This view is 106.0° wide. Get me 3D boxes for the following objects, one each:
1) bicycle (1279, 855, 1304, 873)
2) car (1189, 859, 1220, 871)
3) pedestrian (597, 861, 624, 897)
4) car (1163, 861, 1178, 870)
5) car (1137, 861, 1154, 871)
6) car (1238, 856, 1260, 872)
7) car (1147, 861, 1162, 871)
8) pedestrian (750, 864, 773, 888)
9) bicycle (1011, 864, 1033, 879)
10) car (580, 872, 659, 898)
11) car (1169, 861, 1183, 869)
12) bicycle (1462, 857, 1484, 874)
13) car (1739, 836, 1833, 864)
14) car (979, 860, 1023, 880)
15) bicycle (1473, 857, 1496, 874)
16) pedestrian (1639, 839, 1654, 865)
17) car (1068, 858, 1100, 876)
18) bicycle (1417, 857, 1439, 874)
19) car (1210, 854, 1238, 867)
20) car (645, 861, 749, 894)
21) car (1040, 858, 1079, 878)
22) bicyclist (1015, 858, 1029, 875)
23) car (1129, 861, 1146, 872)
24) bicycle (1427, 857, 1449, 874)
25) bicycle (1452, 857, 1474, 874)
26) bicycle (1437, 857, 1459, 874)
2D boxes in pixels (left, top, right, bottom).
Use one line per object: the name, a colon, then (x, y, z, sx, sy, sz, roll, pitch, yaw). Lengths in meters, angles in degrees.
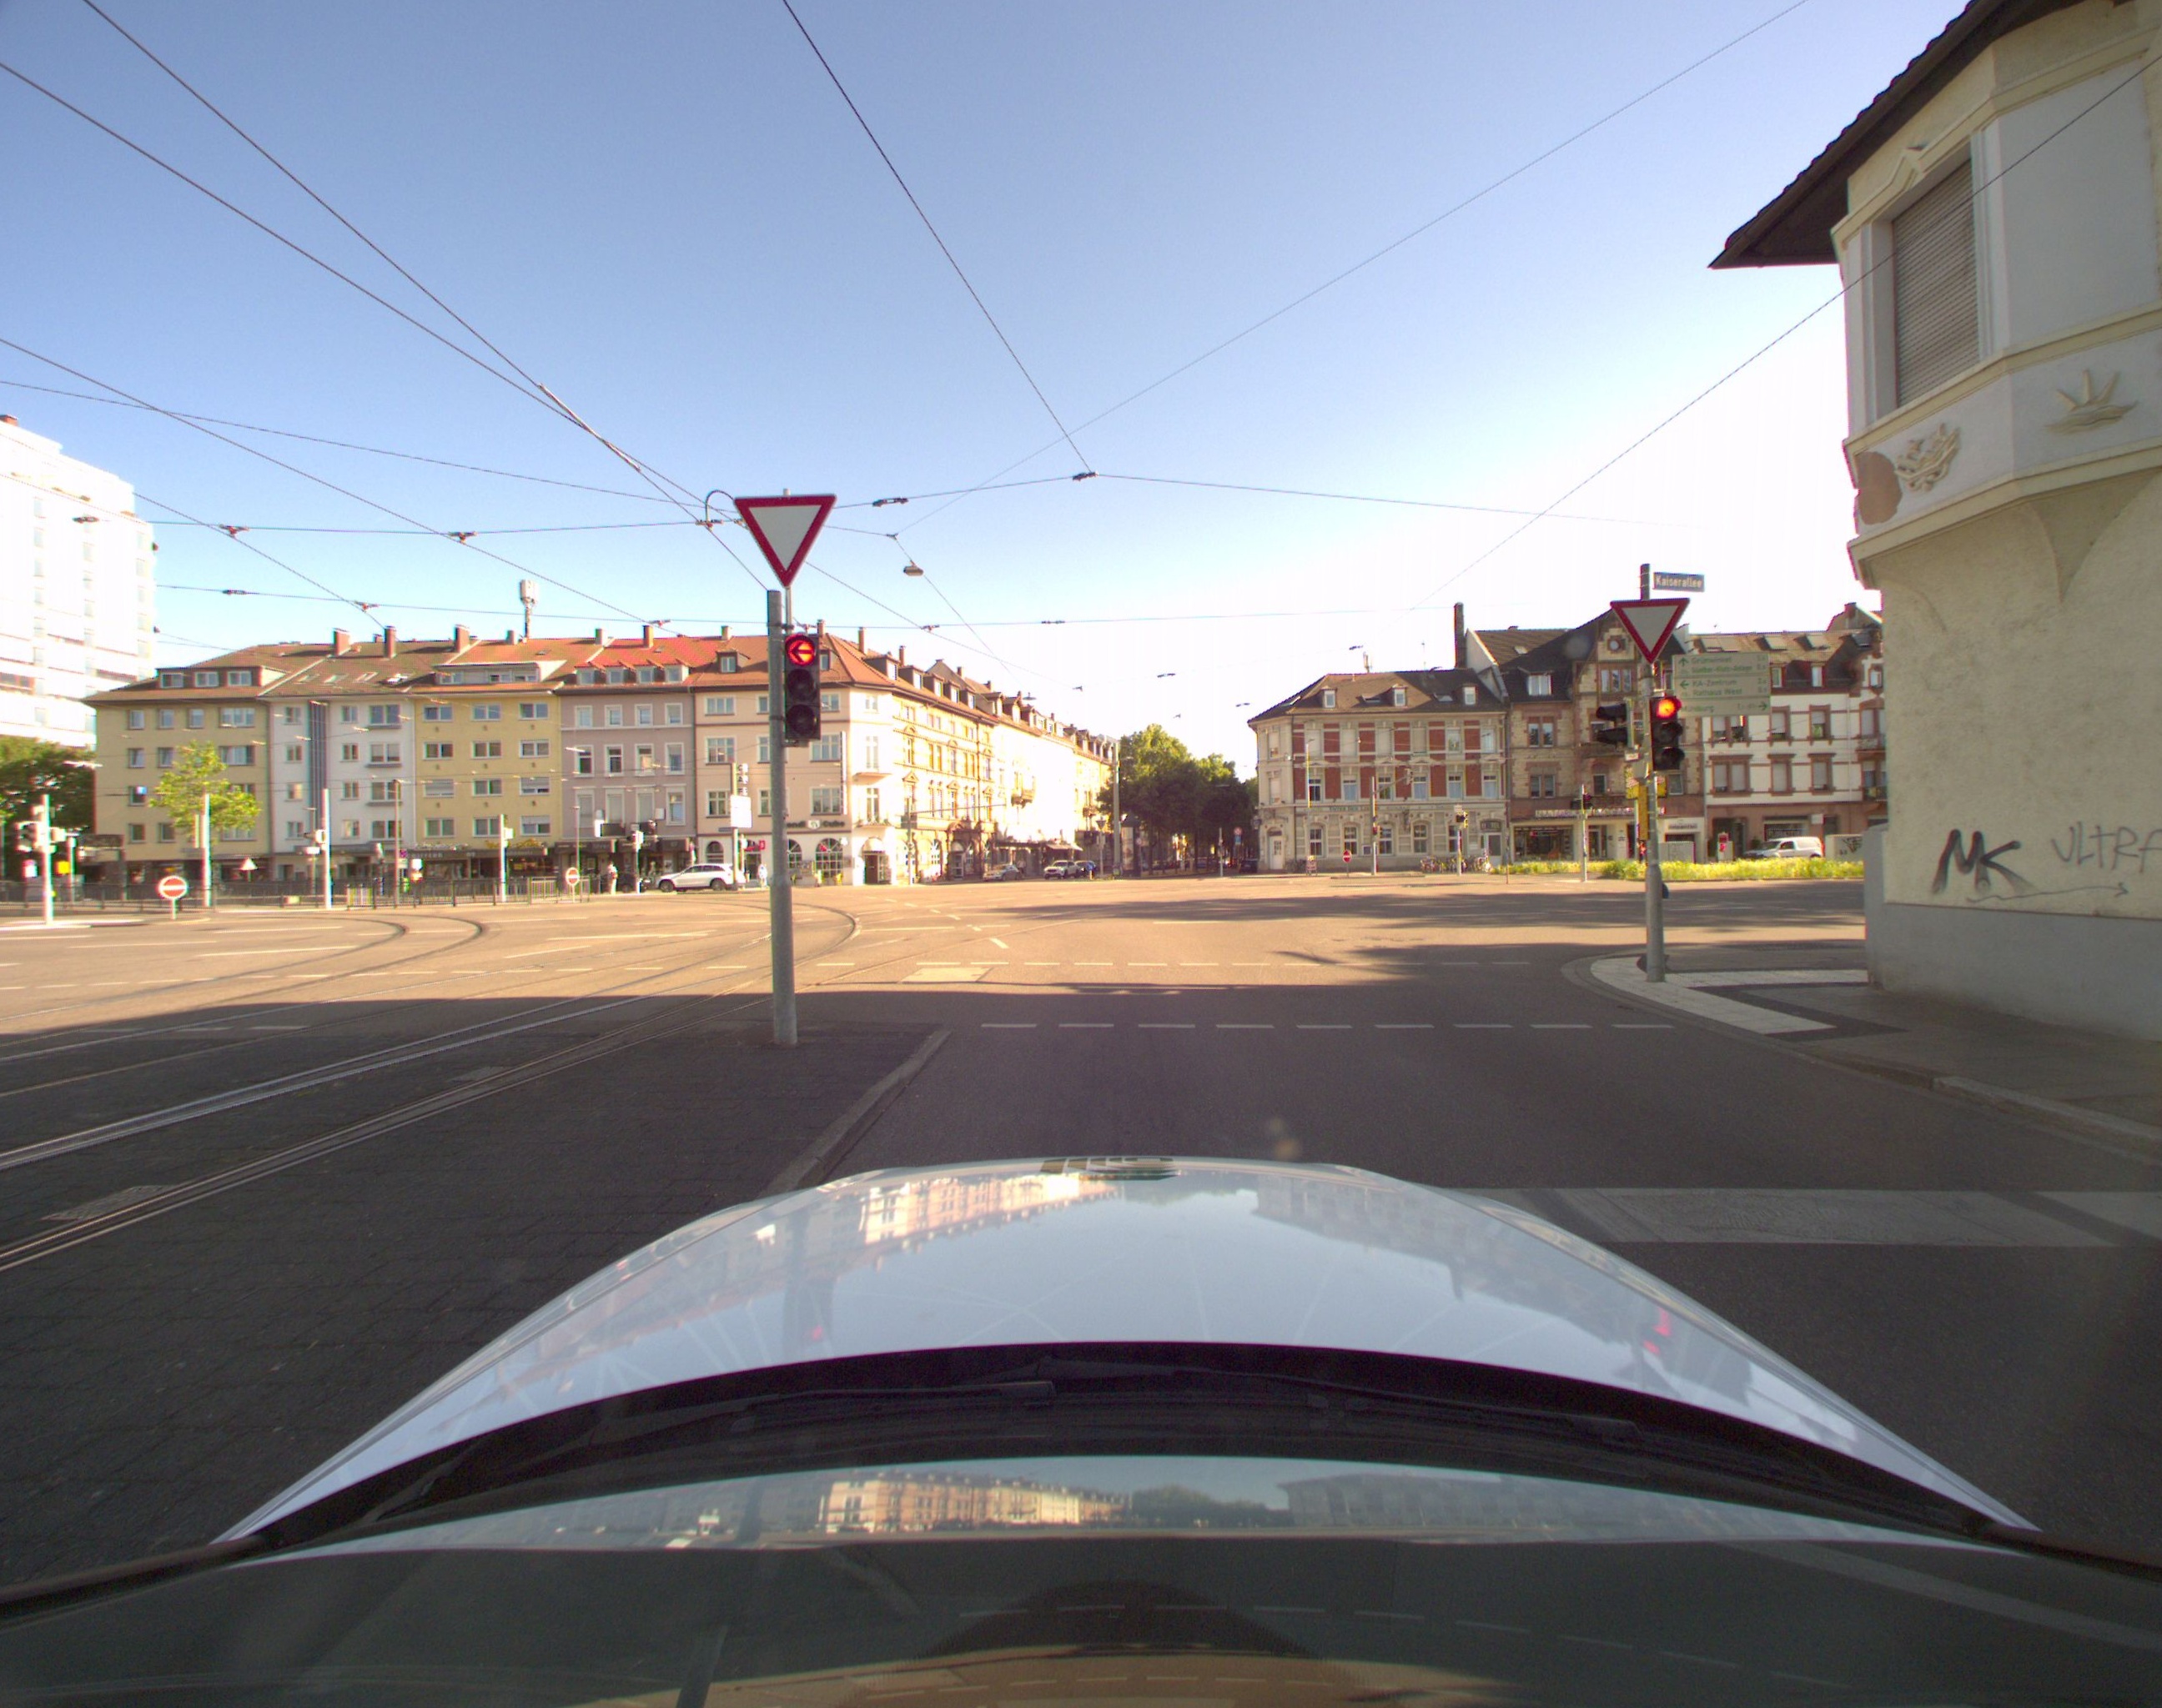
bicycle: (14.699, 0.693, 56.937, 1.625, 1.222, 0.609, -1, 0, 18)
car: (17.492, 1.528, 114.990, 4.078, 1.646, 1.754, 1, 0, 17)
pedestrian: (-24.568, 1.312, 42.555, 0.871, 1.818, 0.811, -1, 0, 2)
car: (14.448, 1.813, 131.454, 1.728, 1.397, 4.141, 1, 0, 16)
car: (9.182, 1.688, 115.770, 1.729, 1.397, 4.137, 1, 0, 12)
car: (16.909, 0.994, 82.049, 1.637, 1.524, 3.772, -2, -1, 20)
car: (11.070, 1.731, 122.707, 1.729, 1.397, 4.137, 1, 0, 12)
pedestrian: (-21.556, 1.485, 54.994, 1.060, 1.591, 1.043, -1, 0, 4)
bicycle: (-4.766, 1.432, 65.898, 0.745, 1.135, 2.821, -1, 0, 16)
car: (-30.271, 1.993, 53.532, 3.978, 1.464, 1.998, -2, 0, -4)
car: (15.871, 1.837, 136.201, 1.728, 1.397, 4.141, 1, 0, 16)
bicycle: (25.317, 0.719, 52.616, 0.603, 1.051, 1.641, -1, 0, -3)
car: (45.387, -0.229, 52.468, 4.356, 1.654, 1.999, -1, 0, -2)
car: (-6.594, 1.306, 67.698, 2.080, 1.545, 4.382, -1, 0, 16)
bicycle: (26.056, 0.714, 52.609, 0.603, 1.051, 1.641, -1, 0, -3)
pedestrian: (38.523, -0.104, 55.460, 0.705, 1.751, 0.421, -1, 0, 3)
car: (0.295, 1.153, 73.691, 1.979, 1.513, 4.015, -1, 0, 14)
bicycle: (22.499, 0.742, 52.836, 0.603, 1.051, 1.641, -1, 0, -3)
car: (23.379, 1.089, 133.069, 4.074, 1.919, 1.756, 1, 0, 23)
car: (-21.554, 1.307, 45.797, 4.832, 1.660, 2.000, -1, 0, 0)
car: (-1.727, 1.165, 67.367, 2.080, 1.499, 4.017, -1, 0, 16)
bicyclist: (-4.763, 0.989, 65.869, 0.787, 1.375, 1.113, -1, 0, 16)
car: (7.608, 1.653, 110.000, 1.729, 1.397, 4.137, 1, 0, 12)
bicycle: (23.152, 0.737, 52.867, 0.603, 1.051, 1.641, -1, 0, -3)
bicycle: (24.642, 0.724, 52.566, 0.603, 1.051, 1.641, -1, 0, -3)
bicycle: (23.816, 0.732, 52.867, 0.603, 1.051, 1.641, -1, 0, -3)
